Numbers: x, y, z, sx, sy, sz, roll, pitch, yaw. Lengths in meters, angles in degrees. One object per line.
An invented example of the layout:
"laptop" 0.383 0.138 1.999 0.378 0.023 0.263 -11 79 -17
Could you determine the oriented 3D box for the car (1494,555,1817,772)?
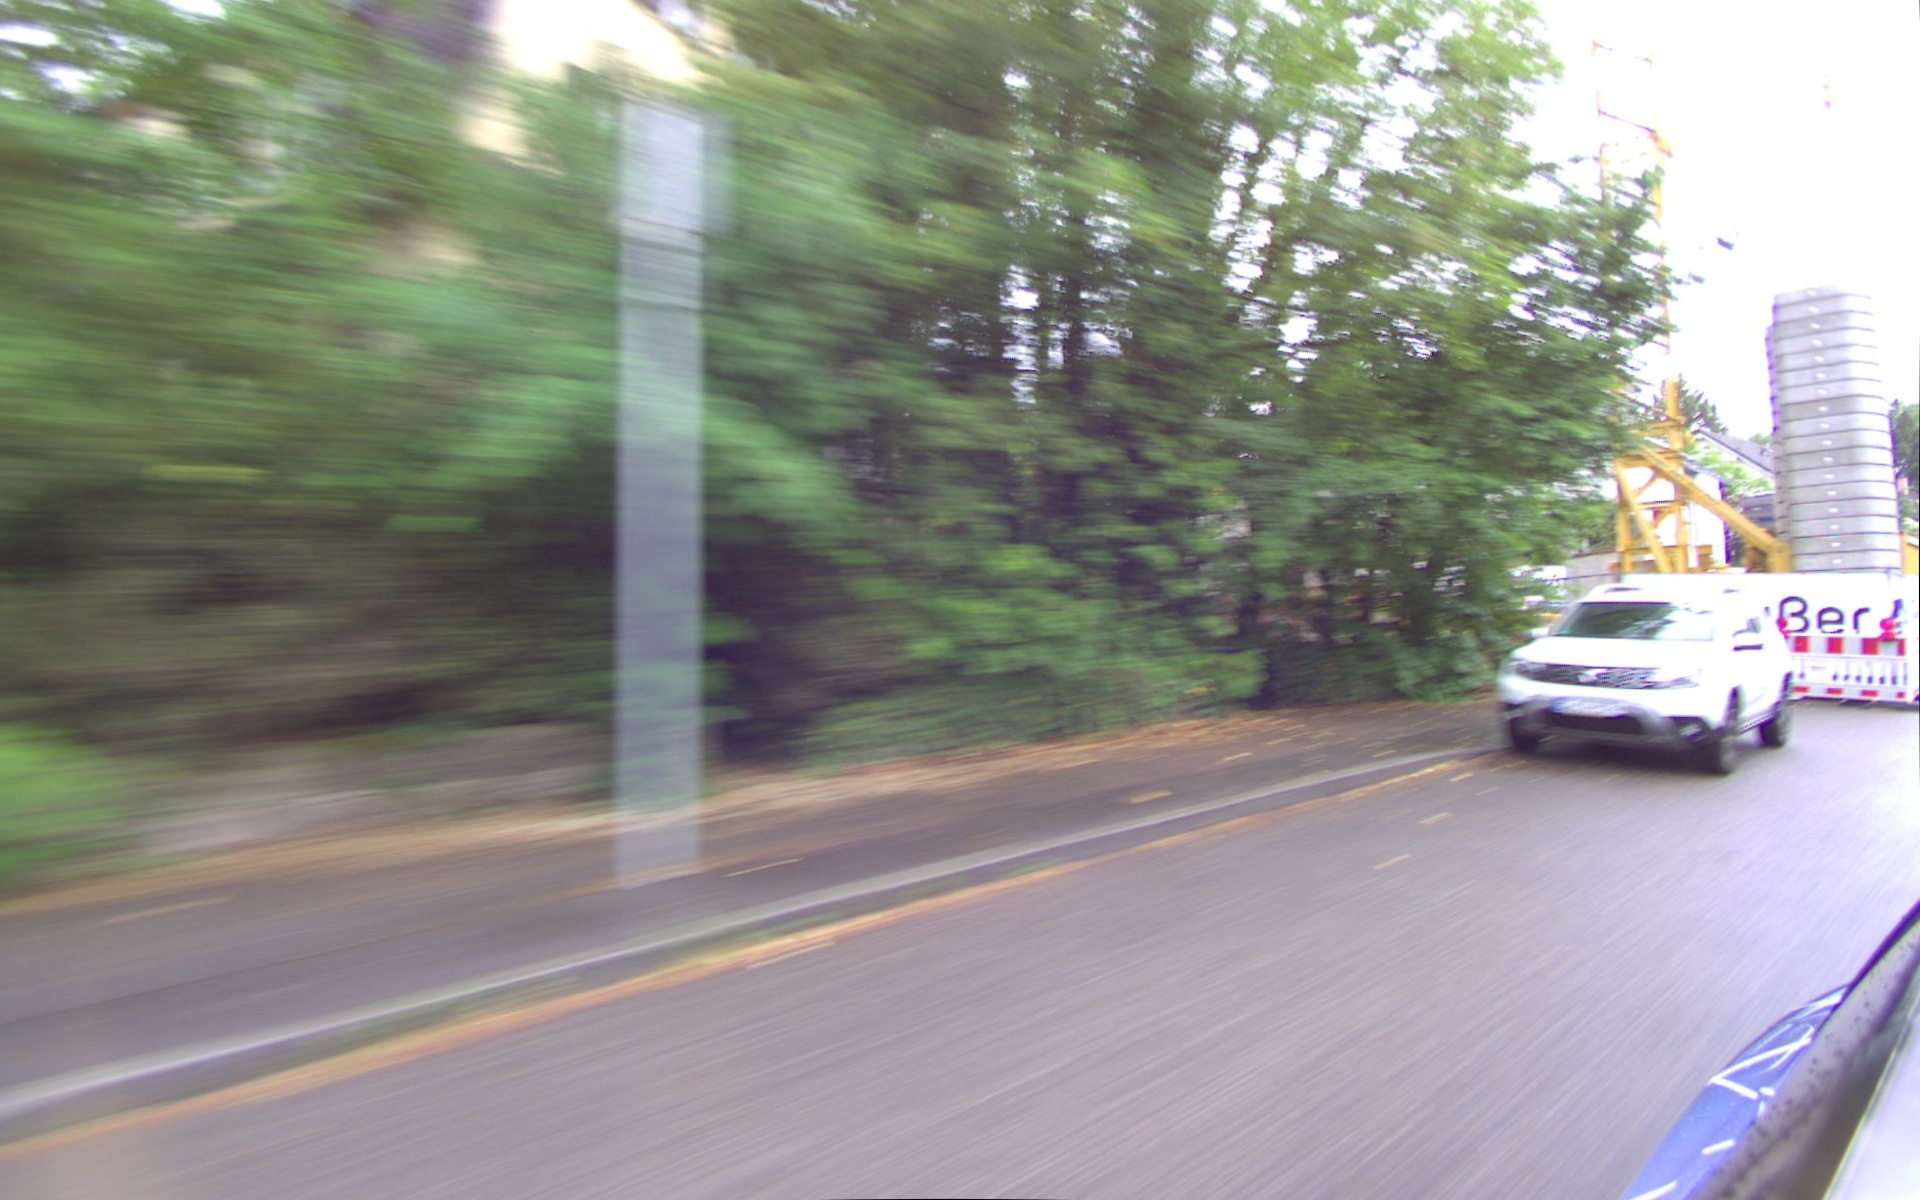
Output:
"car" 7.171 0.511 10.239 4.425 1.727 1.747 0 -1 -43
